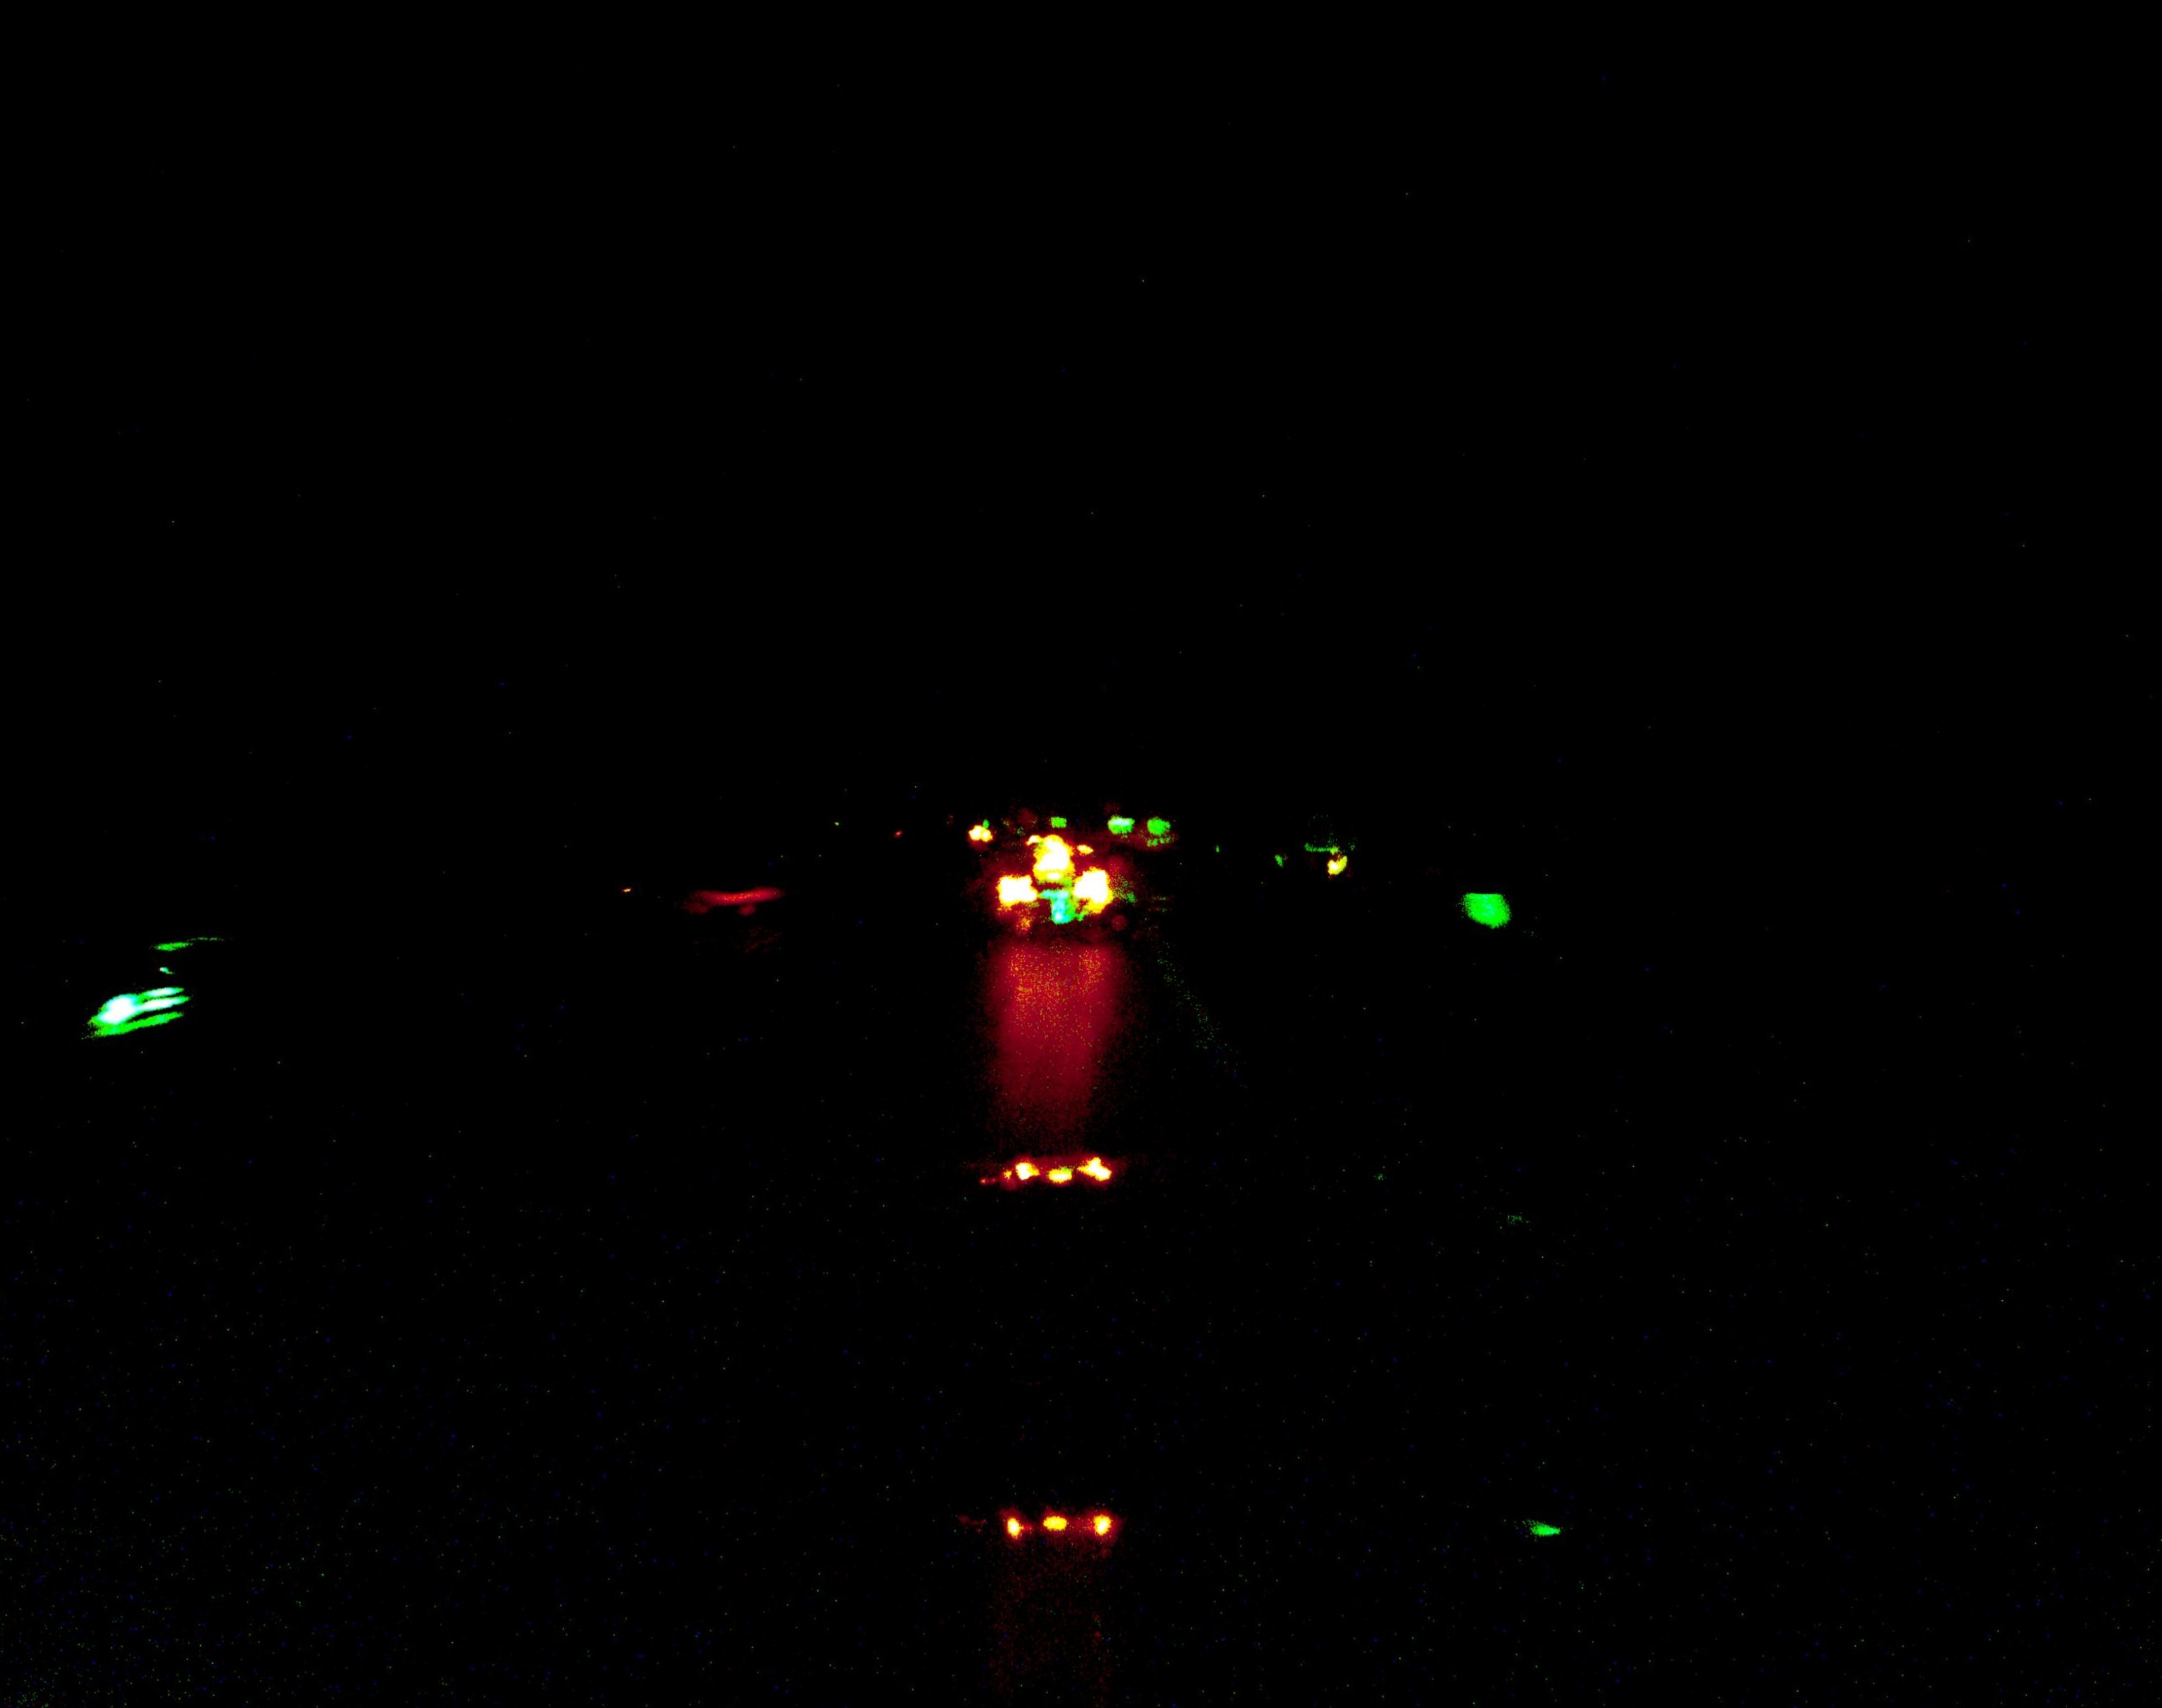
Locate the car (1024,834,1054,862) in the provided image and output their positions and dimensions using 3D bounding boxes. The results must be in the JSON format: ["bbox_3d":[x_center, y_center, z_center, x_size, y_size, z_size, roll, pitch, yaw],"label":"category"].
[{"bbox_3d":[-3.261,-0.457,62.404,1.894,2.040,4.034,-1,1,-9],"label":"car"}]

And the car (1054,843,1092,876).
[{"bbox_3d":[-0.505,0.279,45.339,1.891,1.720,4.040,-1,0,-4],"label":"car"}]

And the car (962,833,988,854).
[{"bbox_3d":[-10.539,-1.021,80.755,1.901,1.998,4.020,-1,1,-19],"label":"car"}]

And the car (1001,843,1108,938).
[{"bbox_3d":[-0.500,0.635,16.462,1.855,1.647,4.067,-1,0,-1],"label":"car"}]

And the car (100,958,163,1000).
[{"bbox_3d":[-43.581,5.693,37.442,4.048,1.425,1.756,-3,-2,42],"label":"car"}]
